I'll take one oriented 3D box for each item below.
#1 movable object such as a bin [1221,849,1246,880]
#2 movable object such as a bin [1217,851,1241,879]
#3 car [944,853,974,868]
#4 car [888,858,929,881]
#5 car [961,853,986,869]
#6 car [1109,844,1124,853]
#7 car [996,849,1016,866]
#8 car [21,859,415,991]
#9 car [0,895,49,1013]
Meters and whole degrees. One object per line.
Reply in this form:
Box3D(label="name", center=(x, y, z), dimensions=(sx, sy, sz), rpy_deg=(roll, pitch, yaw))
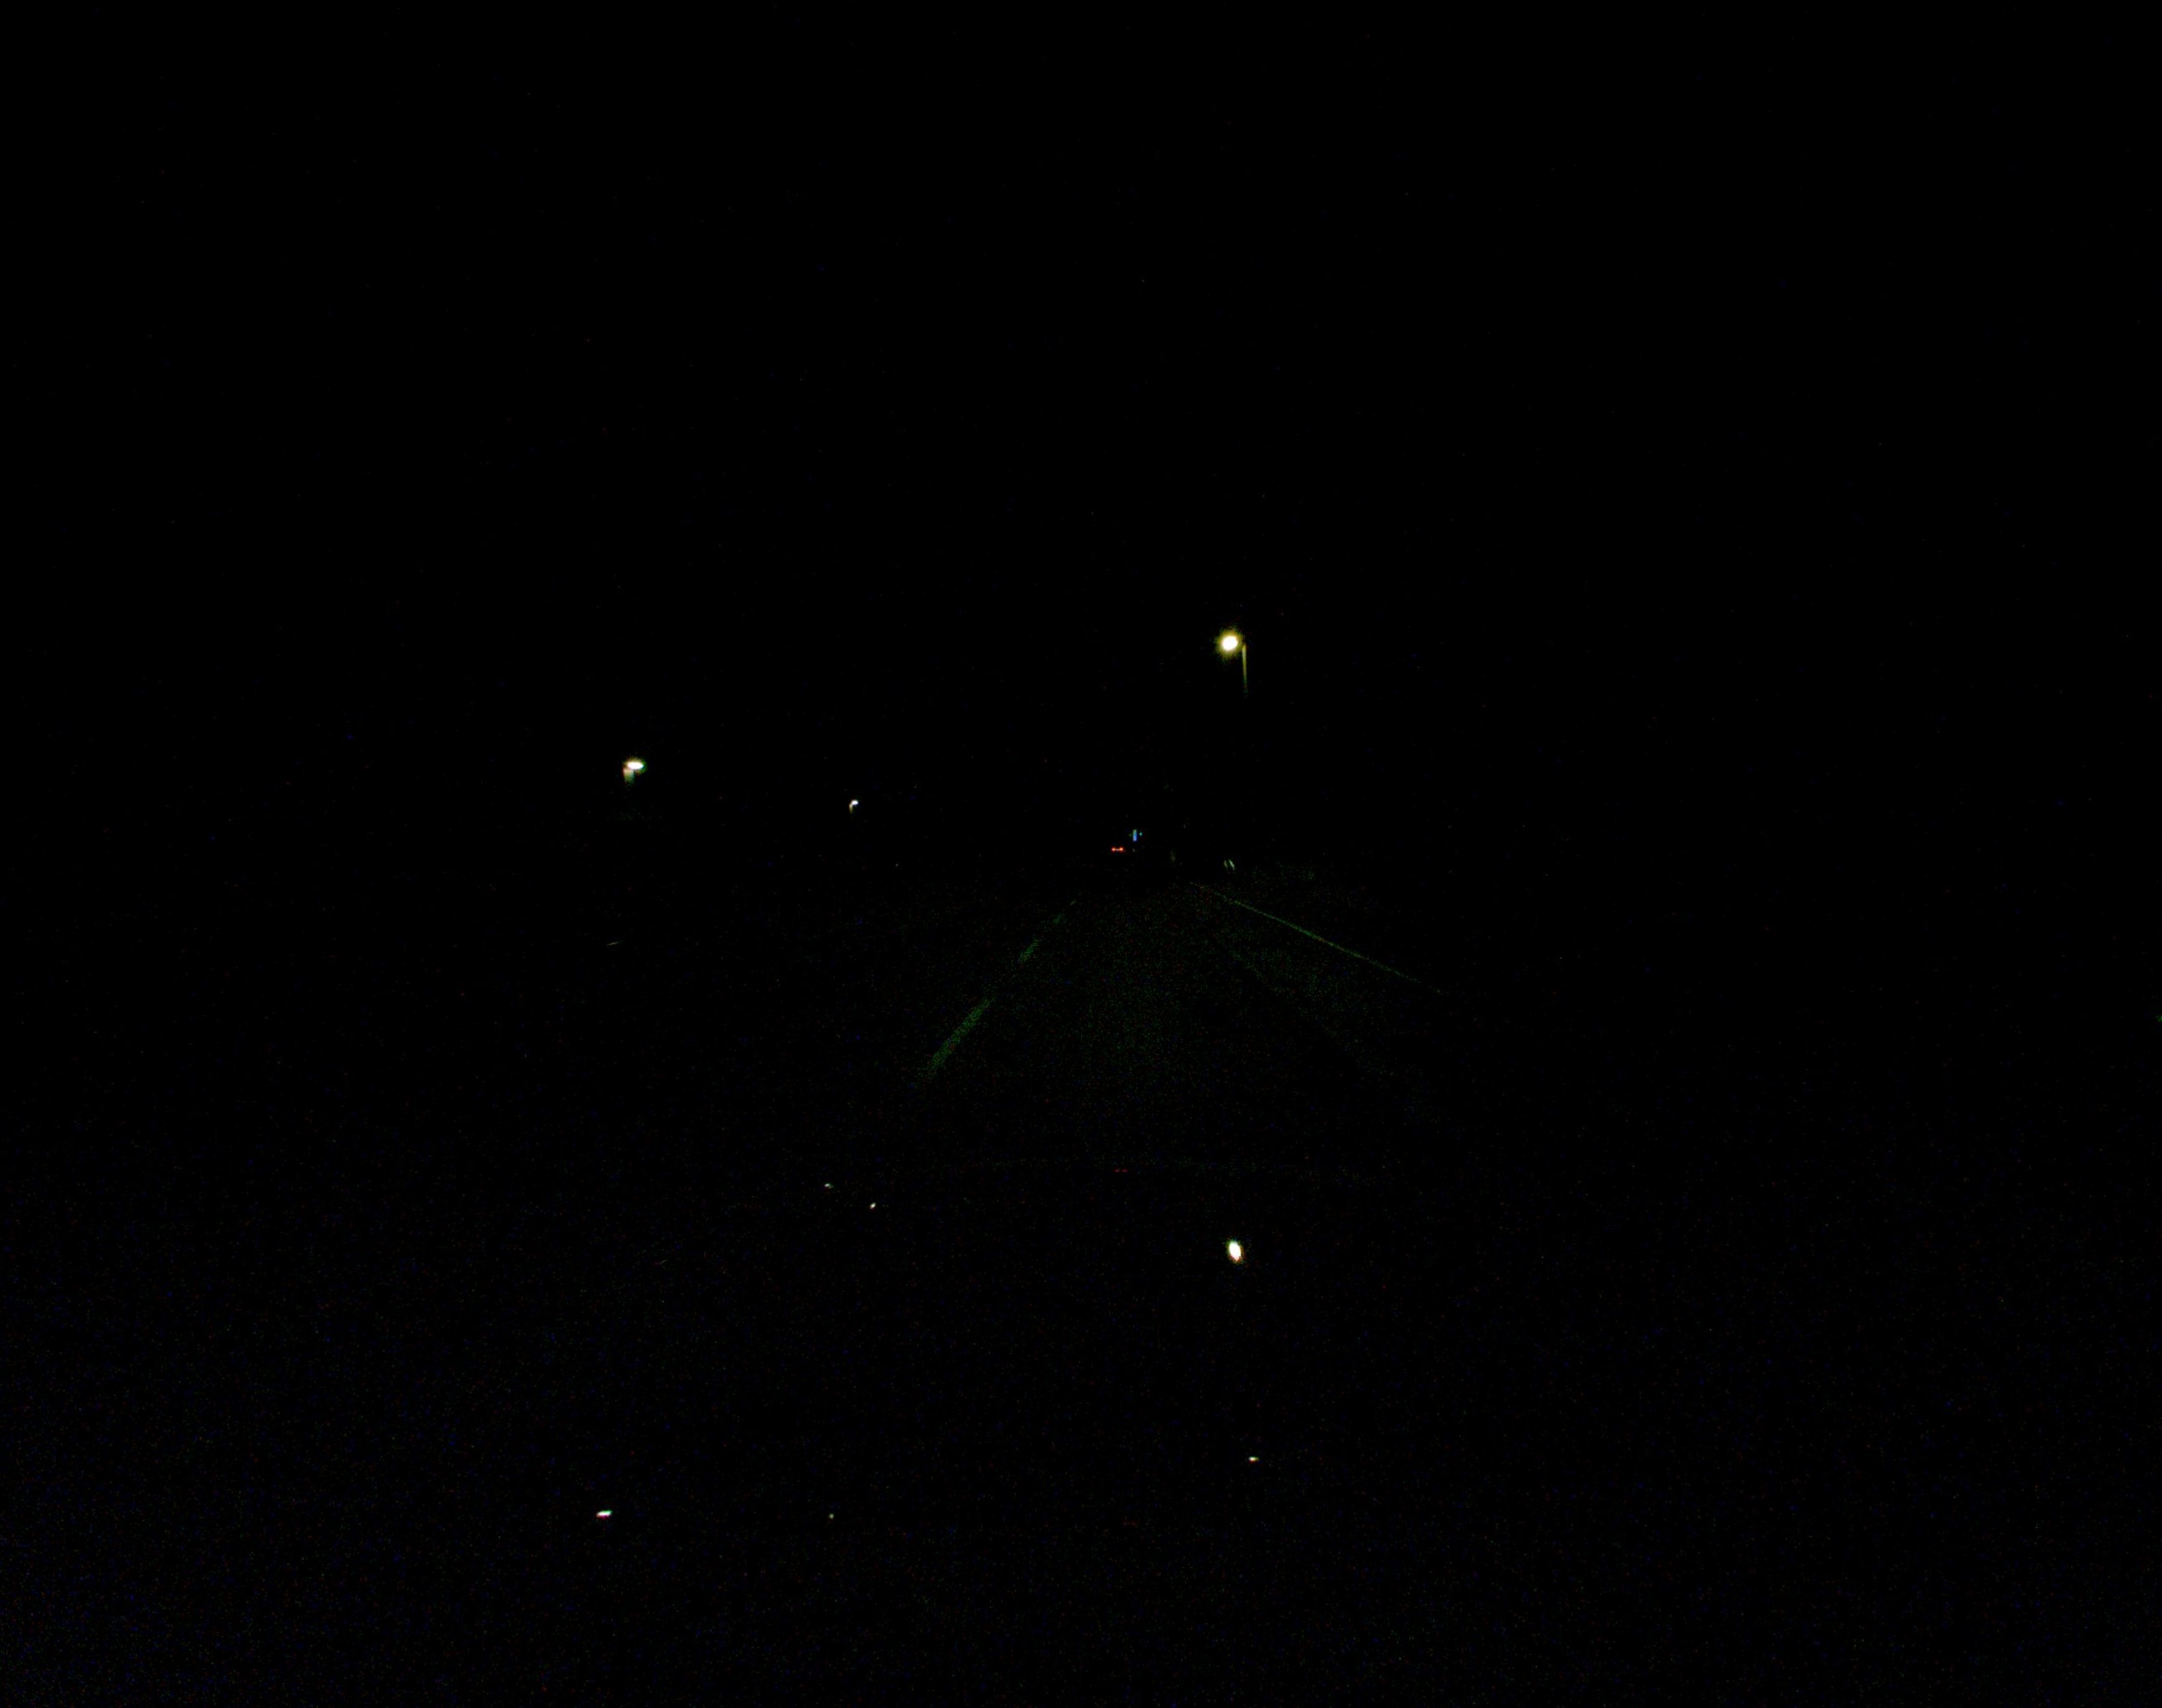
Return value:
Box3D(label="movable object such as a bin", center=(6.070, 0.424, 32.432), dimensions=(0.829, 1.181, 0.829), rpy_deg=(-2, 0, 5))
Box3D(label="movable object such as a bin", center=(6.065, 0.437, 33.309), dimensions=(0.853, 1.119, 0.841), rpy_deg=(-2, 0, 5))
Box3D(label="car", center=(-12.349, 0.654, 82.532), dimensions=(1.986, 1.338, 5.434), rpy_deg=(-2, 0, 2))
Box3D(label="car", center=(-13.297, 1.181, 62.992), dimensions=(1.986, 1.628, 4.679), rpy_deg=(-2, 0, 2))
Box3D(label="car", center=(-11.612, 0.729, 88.459), dimensions=(1.986, 1.530, 4.002), rpy_deg=(-3, 0, 2))
Box3D(label="car", center=(6.280, -0.948, 144.036), dimensions=(2.156, 1.583, 4.009), rpy_deg=(-2, 0, -3))
Box3D(label="car", center=(-10.369, 0.463, 113.216), dimensions=(2.084, 2.013, 4.002), rpy_deg=(-6, 0, 2))
Box3D(label="car", center=(-14.974, 1.081, 14.691), dimensions=(1.851, 1.904, 4.878), rpy_deg=(-2, 0, 0))
Box3D(label="car", center=(-15.288, 1.365, 8.611), dimensions=(1.893, 1.522, 5.178), rpy_deg=(-2, 0, 5))
